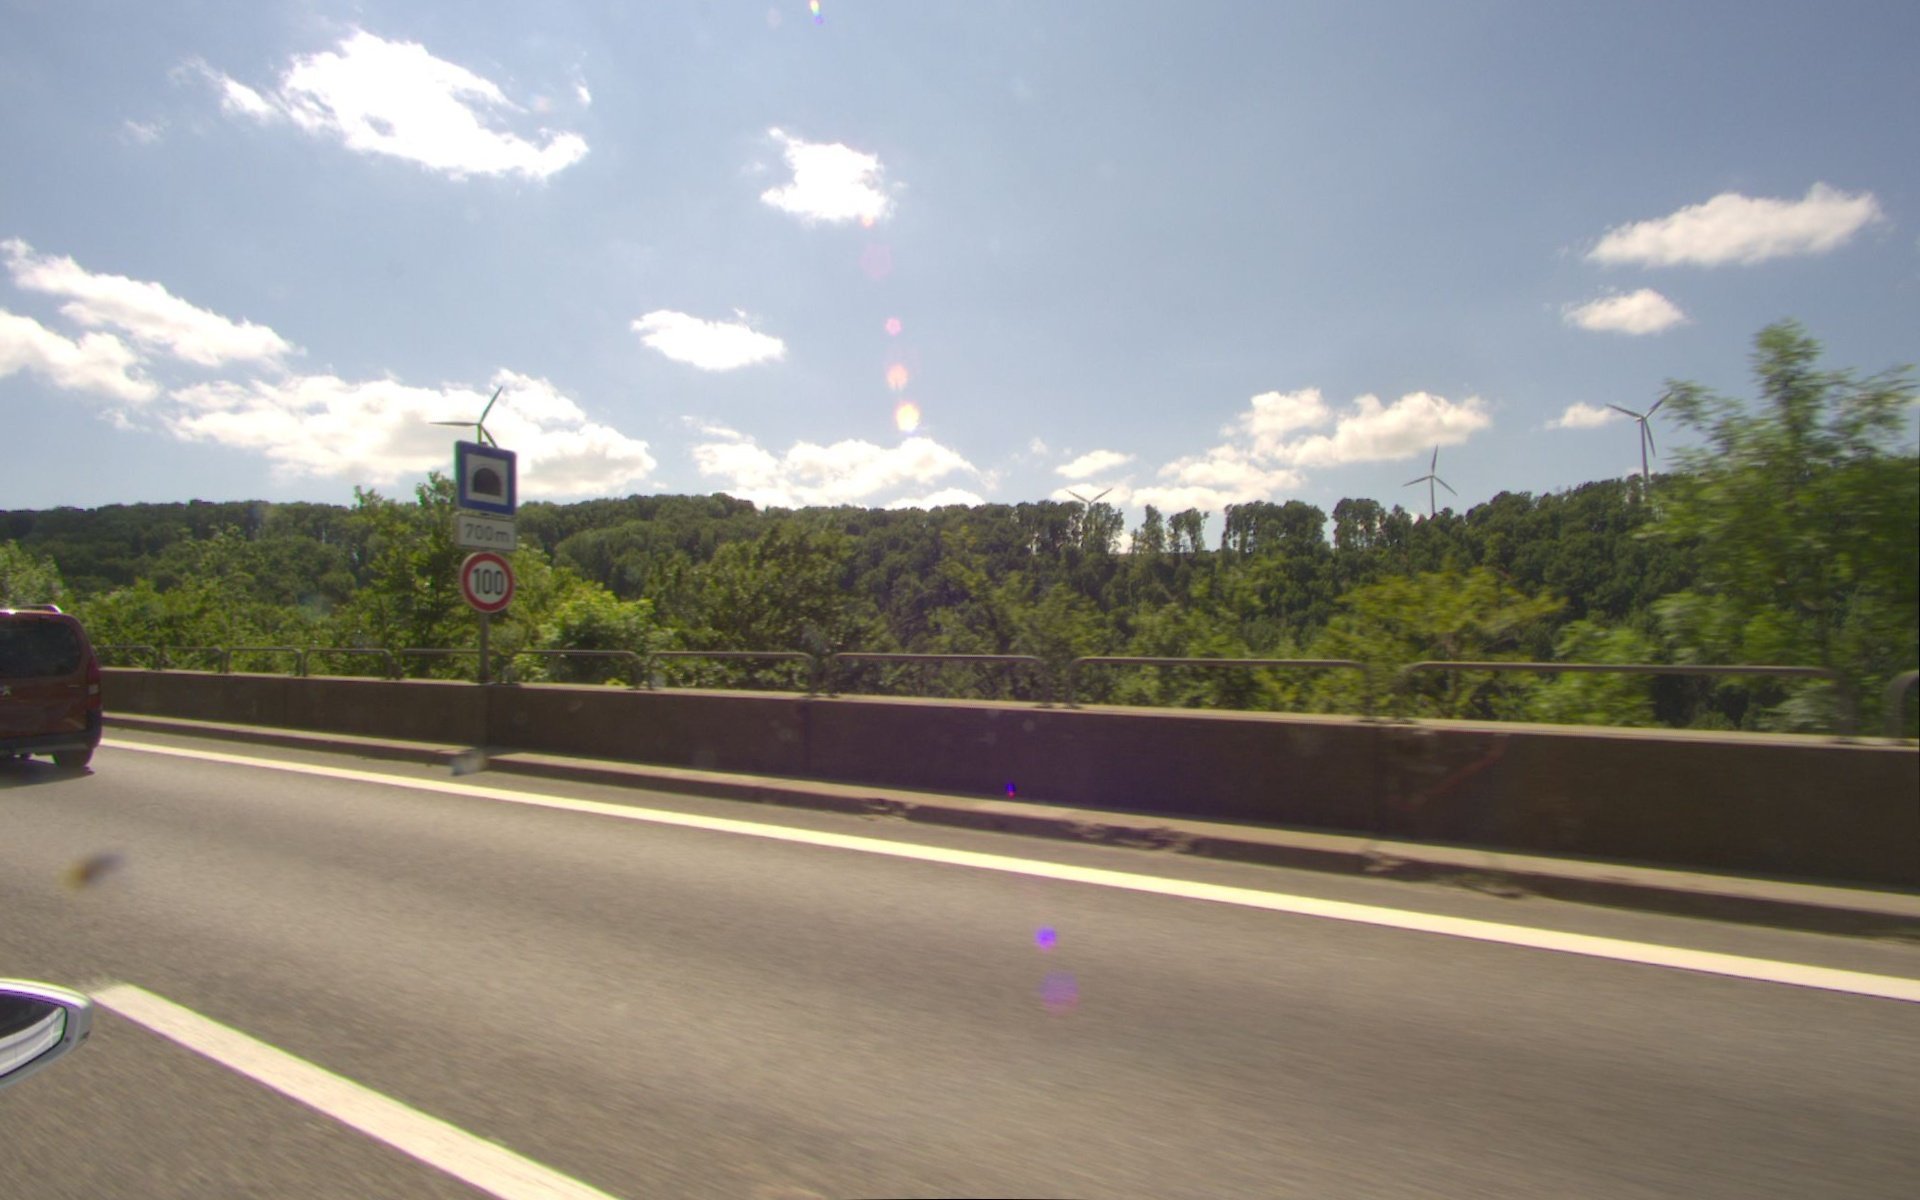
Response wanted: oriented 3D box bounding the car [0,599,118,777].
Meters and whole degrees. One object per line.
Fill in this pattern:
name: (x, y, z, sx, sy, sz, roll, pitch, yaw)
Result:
car: (-11.716, 0.958, 11.492, 4.609, 1.807, 1.830, -2, -1, 32)
